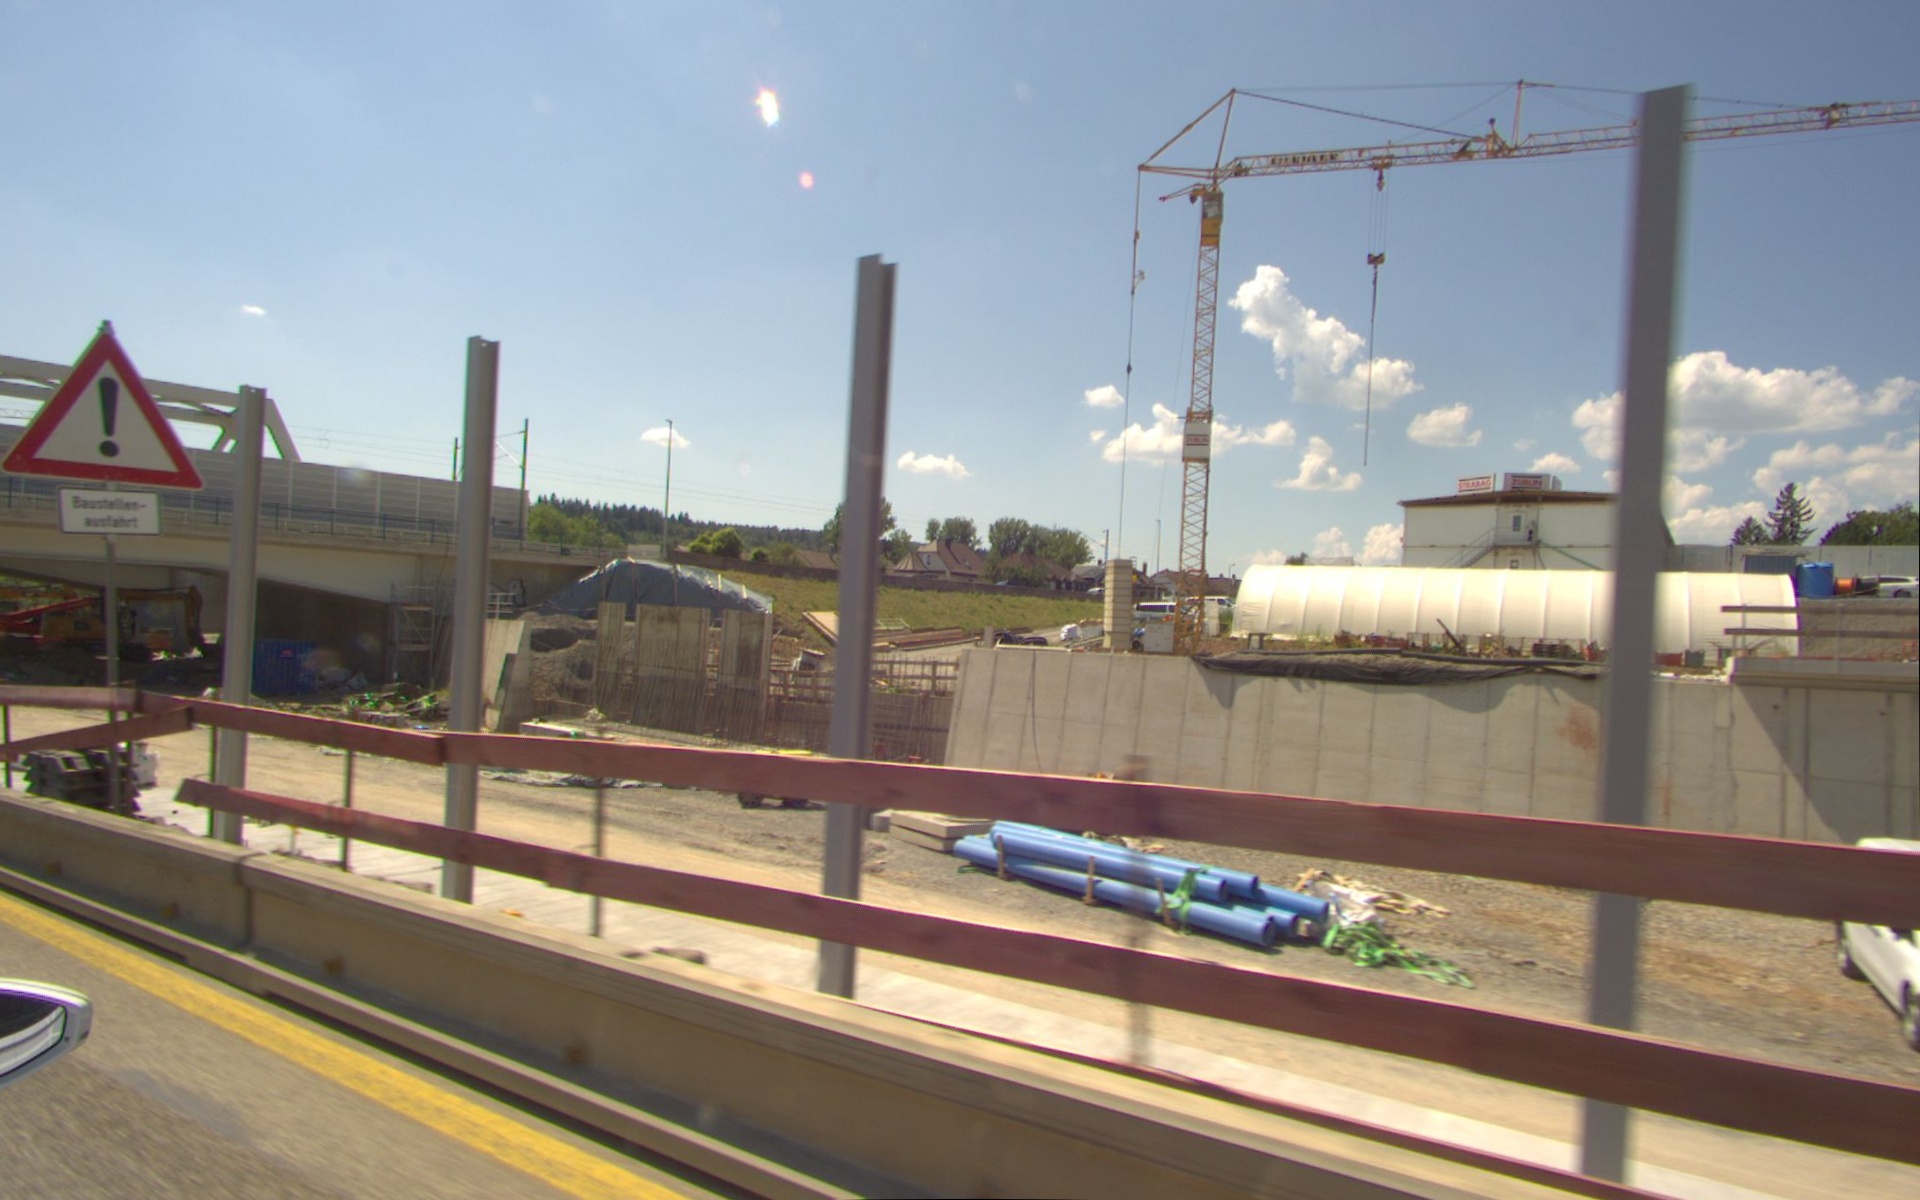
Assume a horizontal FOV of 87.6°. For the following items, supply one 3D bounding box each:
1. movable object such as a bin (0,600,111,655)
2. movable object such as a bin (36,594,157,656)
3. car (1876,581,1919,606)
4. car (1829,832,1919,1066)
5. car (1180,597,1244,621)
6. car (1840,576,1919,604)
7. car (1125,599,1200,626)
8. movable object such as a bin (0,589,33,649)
[{"bbox_3d":[-55.079,1.709,60.559,2.464,3.094,5.227,-1,-4,36],"label":"movable object such as a bin"},{"bbox_3d":[-48.961,1.470,56.840,2.951,3.327,4.543,-1,-3,36],"label":"movable object such as a bin"},{"bbox_3d":[62.417,-0.418,64.972,4.157,1.505,1.721,-1,-2,34],"label":"car"},{"bbox_3d":[11.491,3.968,11.339,1.695,1.791,4.784,2,-3,32],"label":"car"},{"bbox_3d":[21.447,0.793,85.334,4.921,1.984,1.988,-1,-2,36],"label":"car"},{"bbox_3d":[54.059,-0.585,58.234,4.160,1.505,1.719,-1,-2,37],"label":"car"},{"bbox_3d":[15.878,0.985,78.567,5.499,1.984,1.988,-1,-2,36],"label":"car"},{"bbox_3d":[-59.448,1.162,61.149,2.872,3.586,3.862,-2,-4,43],"label":"movable object such as a bin"}]
